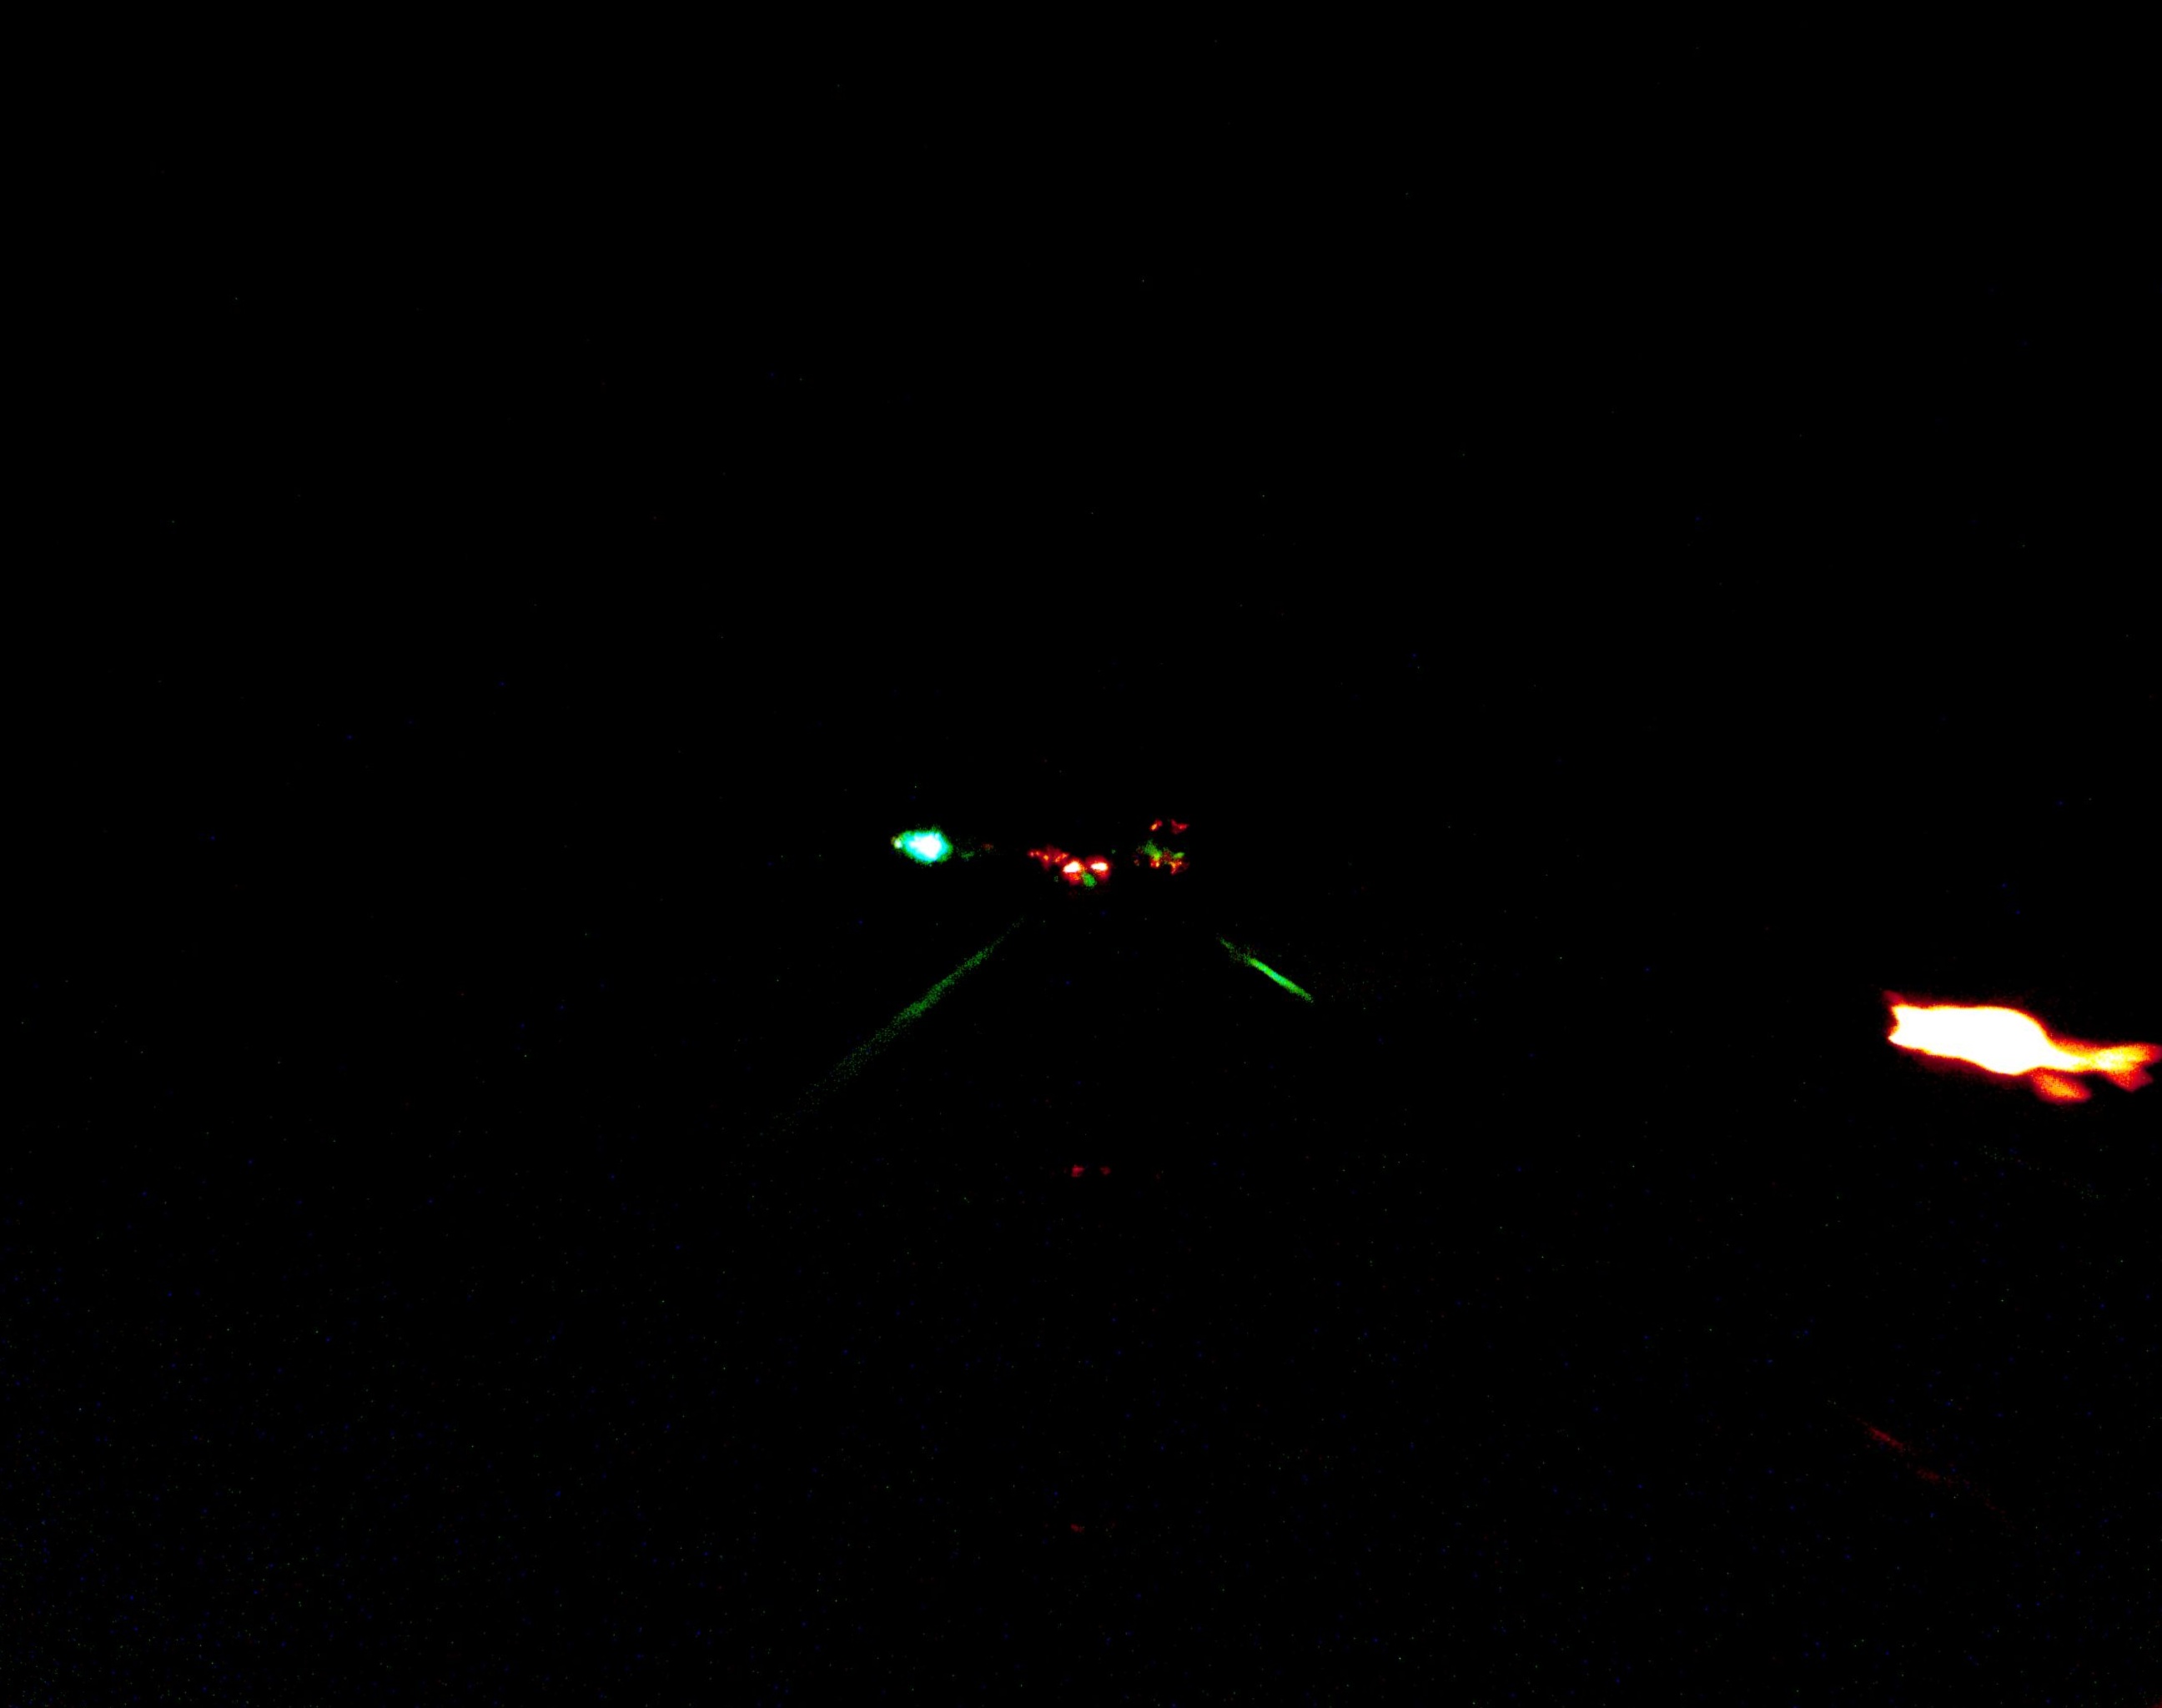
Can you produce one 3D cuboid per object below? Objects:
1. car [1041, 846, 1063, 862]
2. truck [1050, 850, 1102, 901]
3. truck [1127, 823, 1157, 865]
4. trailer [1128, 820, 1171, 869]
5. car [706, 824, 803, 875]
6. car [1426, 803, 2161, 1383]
[{"bbox_3d":[-3.683,0.021,103.465,1.996,2.014,3.981,-1,-1,-14],"label":"car"},{"bbox_3d":[-0.141,0.964,40.134,2.137,2.077,6.607,4,1,2],"label":"truck"},{"bbox_3d":[6.360,-1.091,85.280,2.702,4.241,5.292,0,1,0],"label":"truck"},{"bbox_3d":[6.442,-0.957,78.652,2.731,4.247,13.366,-2,1,-1],"label":"trailer"},{"bbox_3d":[-12.304,-0.210,30.977,1.987,1.663,3.999,4,1,-1],"label":"car"},{"bbox_3d":[3.591,0.660,4.392,1.794,1.617,4.259,0,0,2],"label":"car"}]
